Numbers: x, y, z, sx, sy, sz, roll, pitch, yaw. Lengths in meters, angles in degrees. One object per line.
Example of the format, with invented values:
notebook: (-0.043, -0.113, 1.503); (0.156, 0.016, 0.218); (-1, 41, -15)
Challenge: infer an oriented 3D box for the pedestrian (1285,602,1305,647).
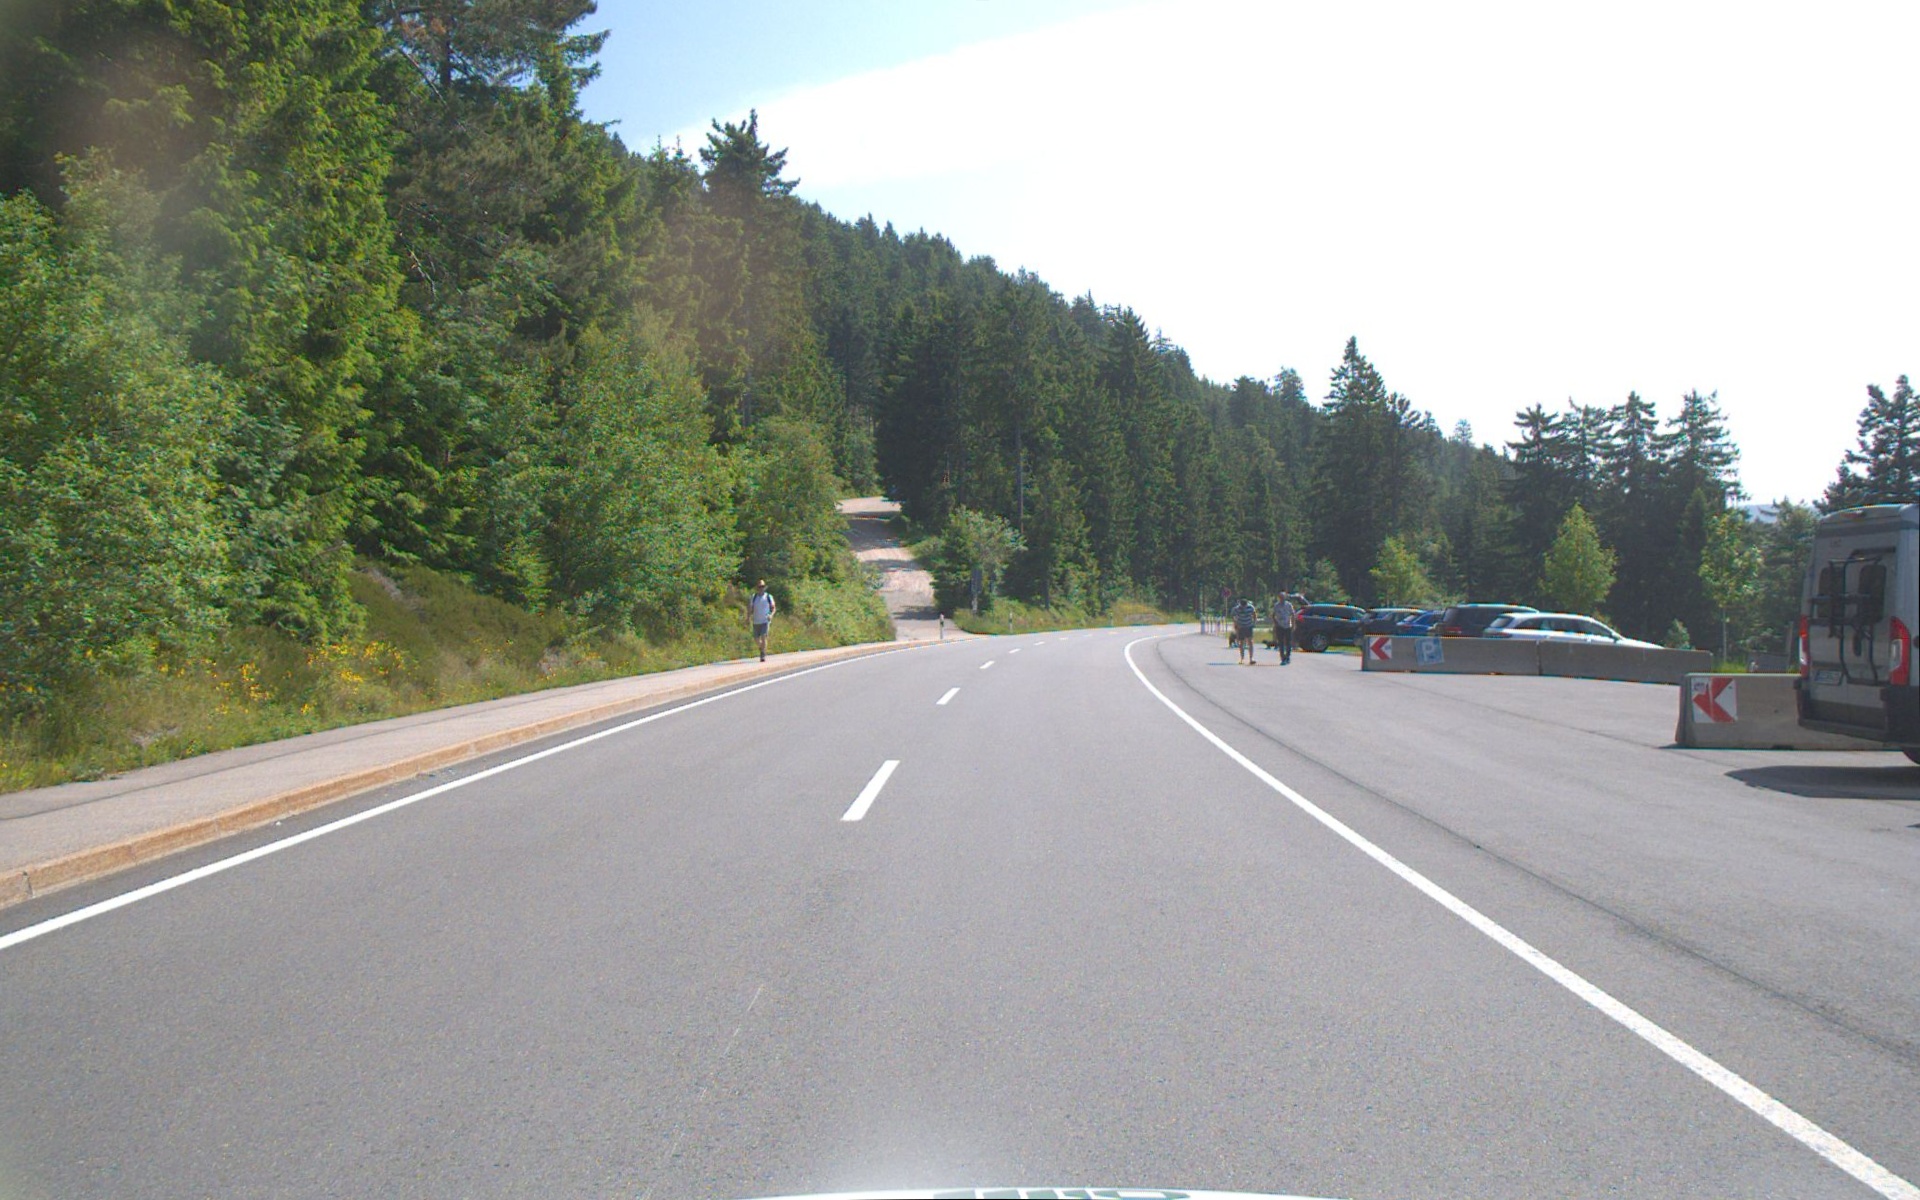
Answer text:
pedestrian: (12.363, 0.903, 61.059); (0.604, 1.615, 0.735); (0, 1, 23)

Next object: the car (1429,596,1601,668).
car: (14.477, 0.824, 43.265); (3.906, 1.675, 1.600); (3, 0, 0)

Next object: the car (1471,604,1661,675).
car: (14.664, 0.940, 40.154); (3.905, 1.502, 1.773); (3, 0, 1)

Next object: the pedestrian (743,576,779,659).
pedestrian: (-4.303, 0.377, 35.843); (0.668, 1.777, 0.825); (1, 0, -1)

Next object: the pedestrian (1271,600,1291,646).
pedestrian: (12.059, 0.857, 62.140); (0.639, 1.689, 0.688); (0, 1, 16)

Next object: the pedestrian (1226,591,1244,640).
pedestrian: (10.220, 0.573, 61.505); (0.604, 1.806, 0.724); (1, 0, 10)

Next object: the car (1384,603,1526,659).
car: (15.561, 0.950, 52.150); (3.905, 1.562, 1.807); (1, 3, 0)

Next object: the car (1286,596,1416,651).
car: (13.802, 0.850, 58.547); (4.176, 1.825, 1.892); (1, -2, 1)

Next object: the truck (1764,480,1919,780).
truck: (11.196, 0.254, 15.549); (6.129, 2.636, 2.341); (0, 0, 3)

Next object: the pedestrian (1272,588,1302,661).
pedestrian: (8.114, 0.599, 41.066); (0.651, 1.771, 0.895); (0, 0, 17)

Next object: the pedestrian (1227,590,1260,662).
pedestrian: (7.096, 0.642, 41.404); (0.738, 1.791, 0.776); (0, 0, 17)

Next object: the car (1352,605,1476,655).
car: (15.189, 0.983, 55.420); (3.676, 1.595, 1.599); (1, 0, -3)
